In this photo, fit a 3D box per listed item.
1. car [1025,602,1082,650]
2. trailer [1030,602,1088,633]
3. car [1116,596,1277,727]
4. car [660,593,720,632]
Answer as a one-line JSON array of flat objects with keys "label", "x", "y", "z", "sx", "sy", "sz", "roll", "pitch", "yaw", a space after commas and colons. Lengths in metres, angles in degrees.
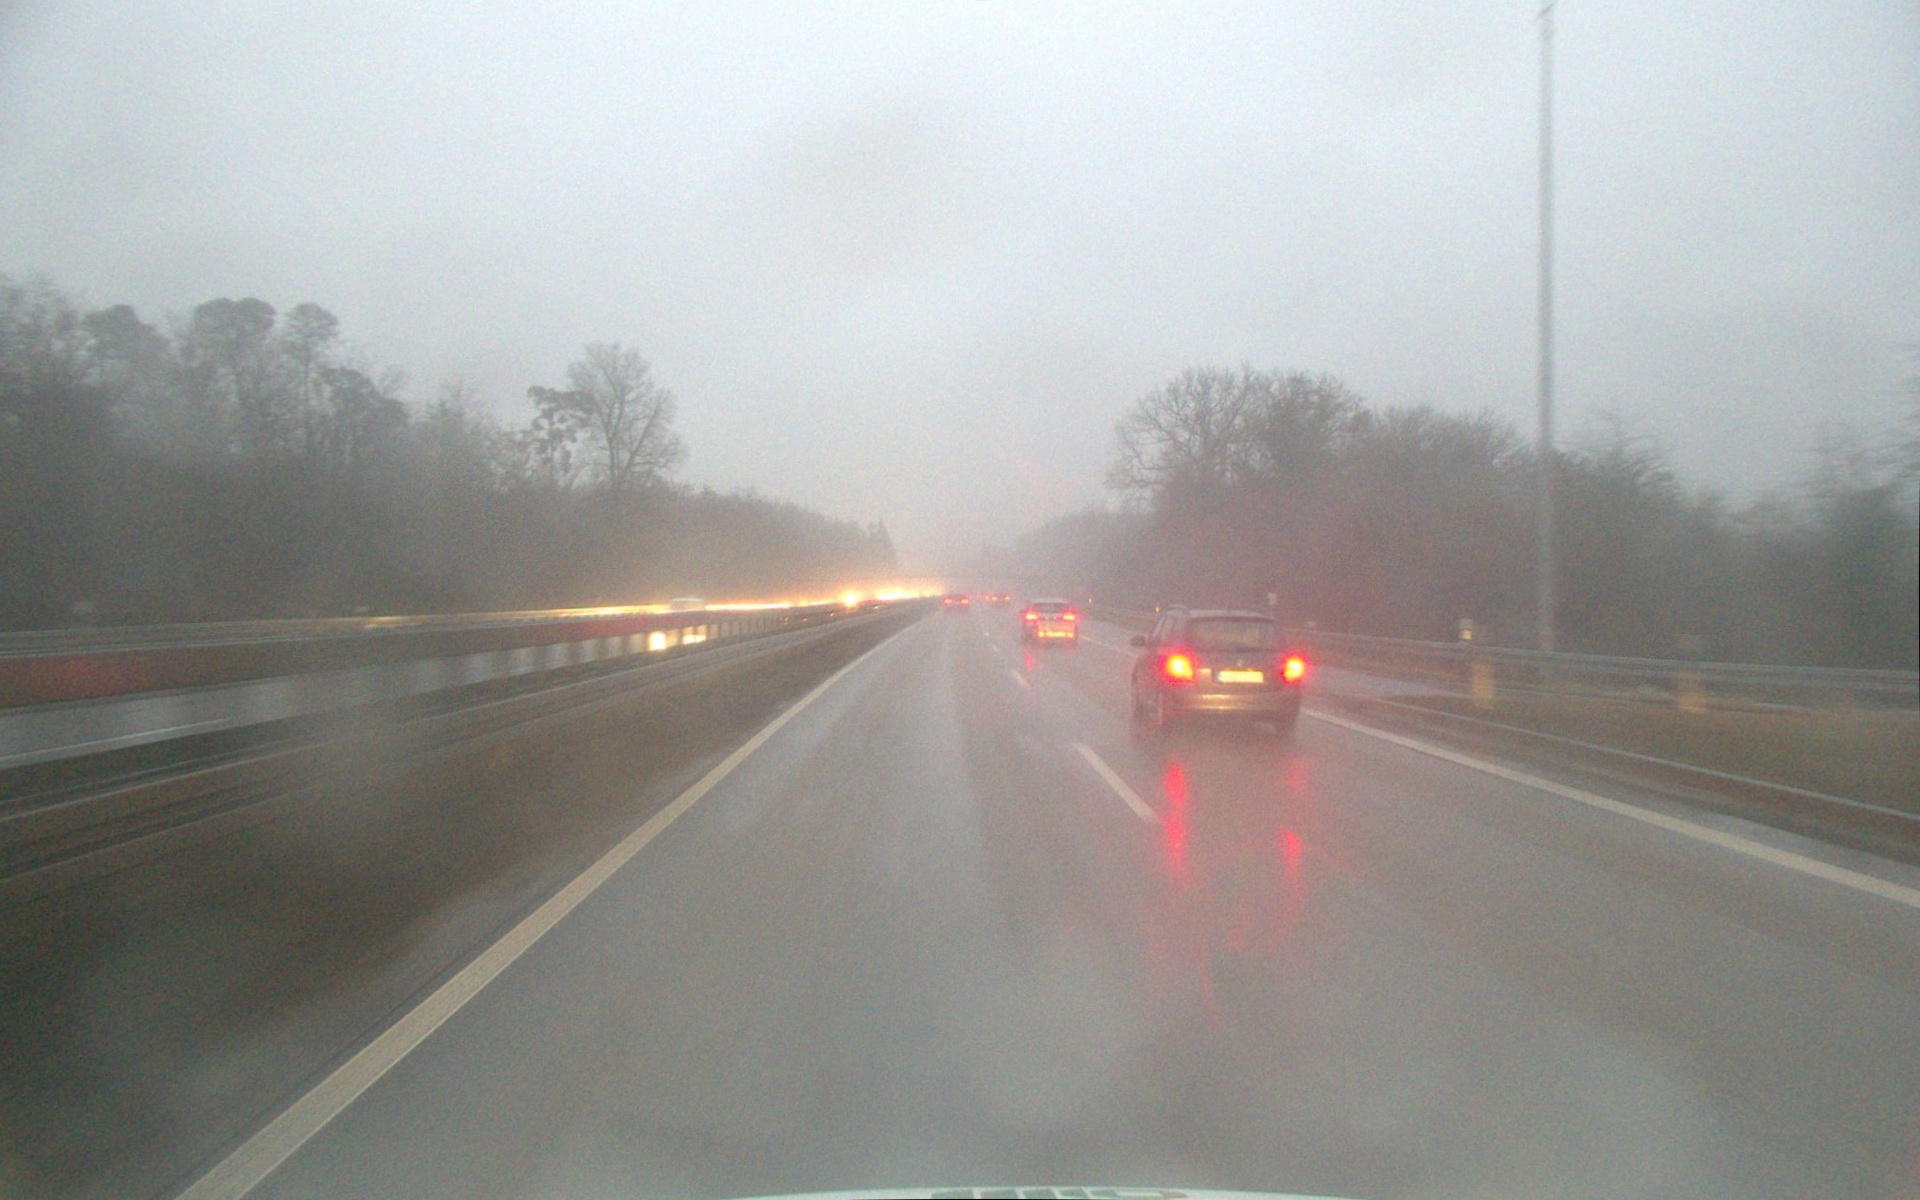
[{"label": "car", "x": 3.205, "y": 0.875, "z": 57.093, "sx": 1.750, "sy": 1.543, "sz": 3.811, "roll": -1, "pitch": 0, "yaw": 0}, {"label": "trailer", "x": 3.199, "y": 0.560, "z": 53.694, "sx": 1.712, "sy": 0.941, "sz": 2.951, "roll": -1, "pitch": 0, "yaw": 0}, {"label": "car", "x": 2.928, "y": 0.708, "z": 21.076, "sx": 1.562, "sy": 1.517, "sz": 3.594, "roll": 0, "pitch": 0, "yaw": 0}, {"label": "car", "x": -11.371, "y": 0.501, "z": 69.967, "sx": 1.760, "sy": 1.598, "sz": 4.753, "roll": 0, "pitch": 0, "yaw": 0}]
